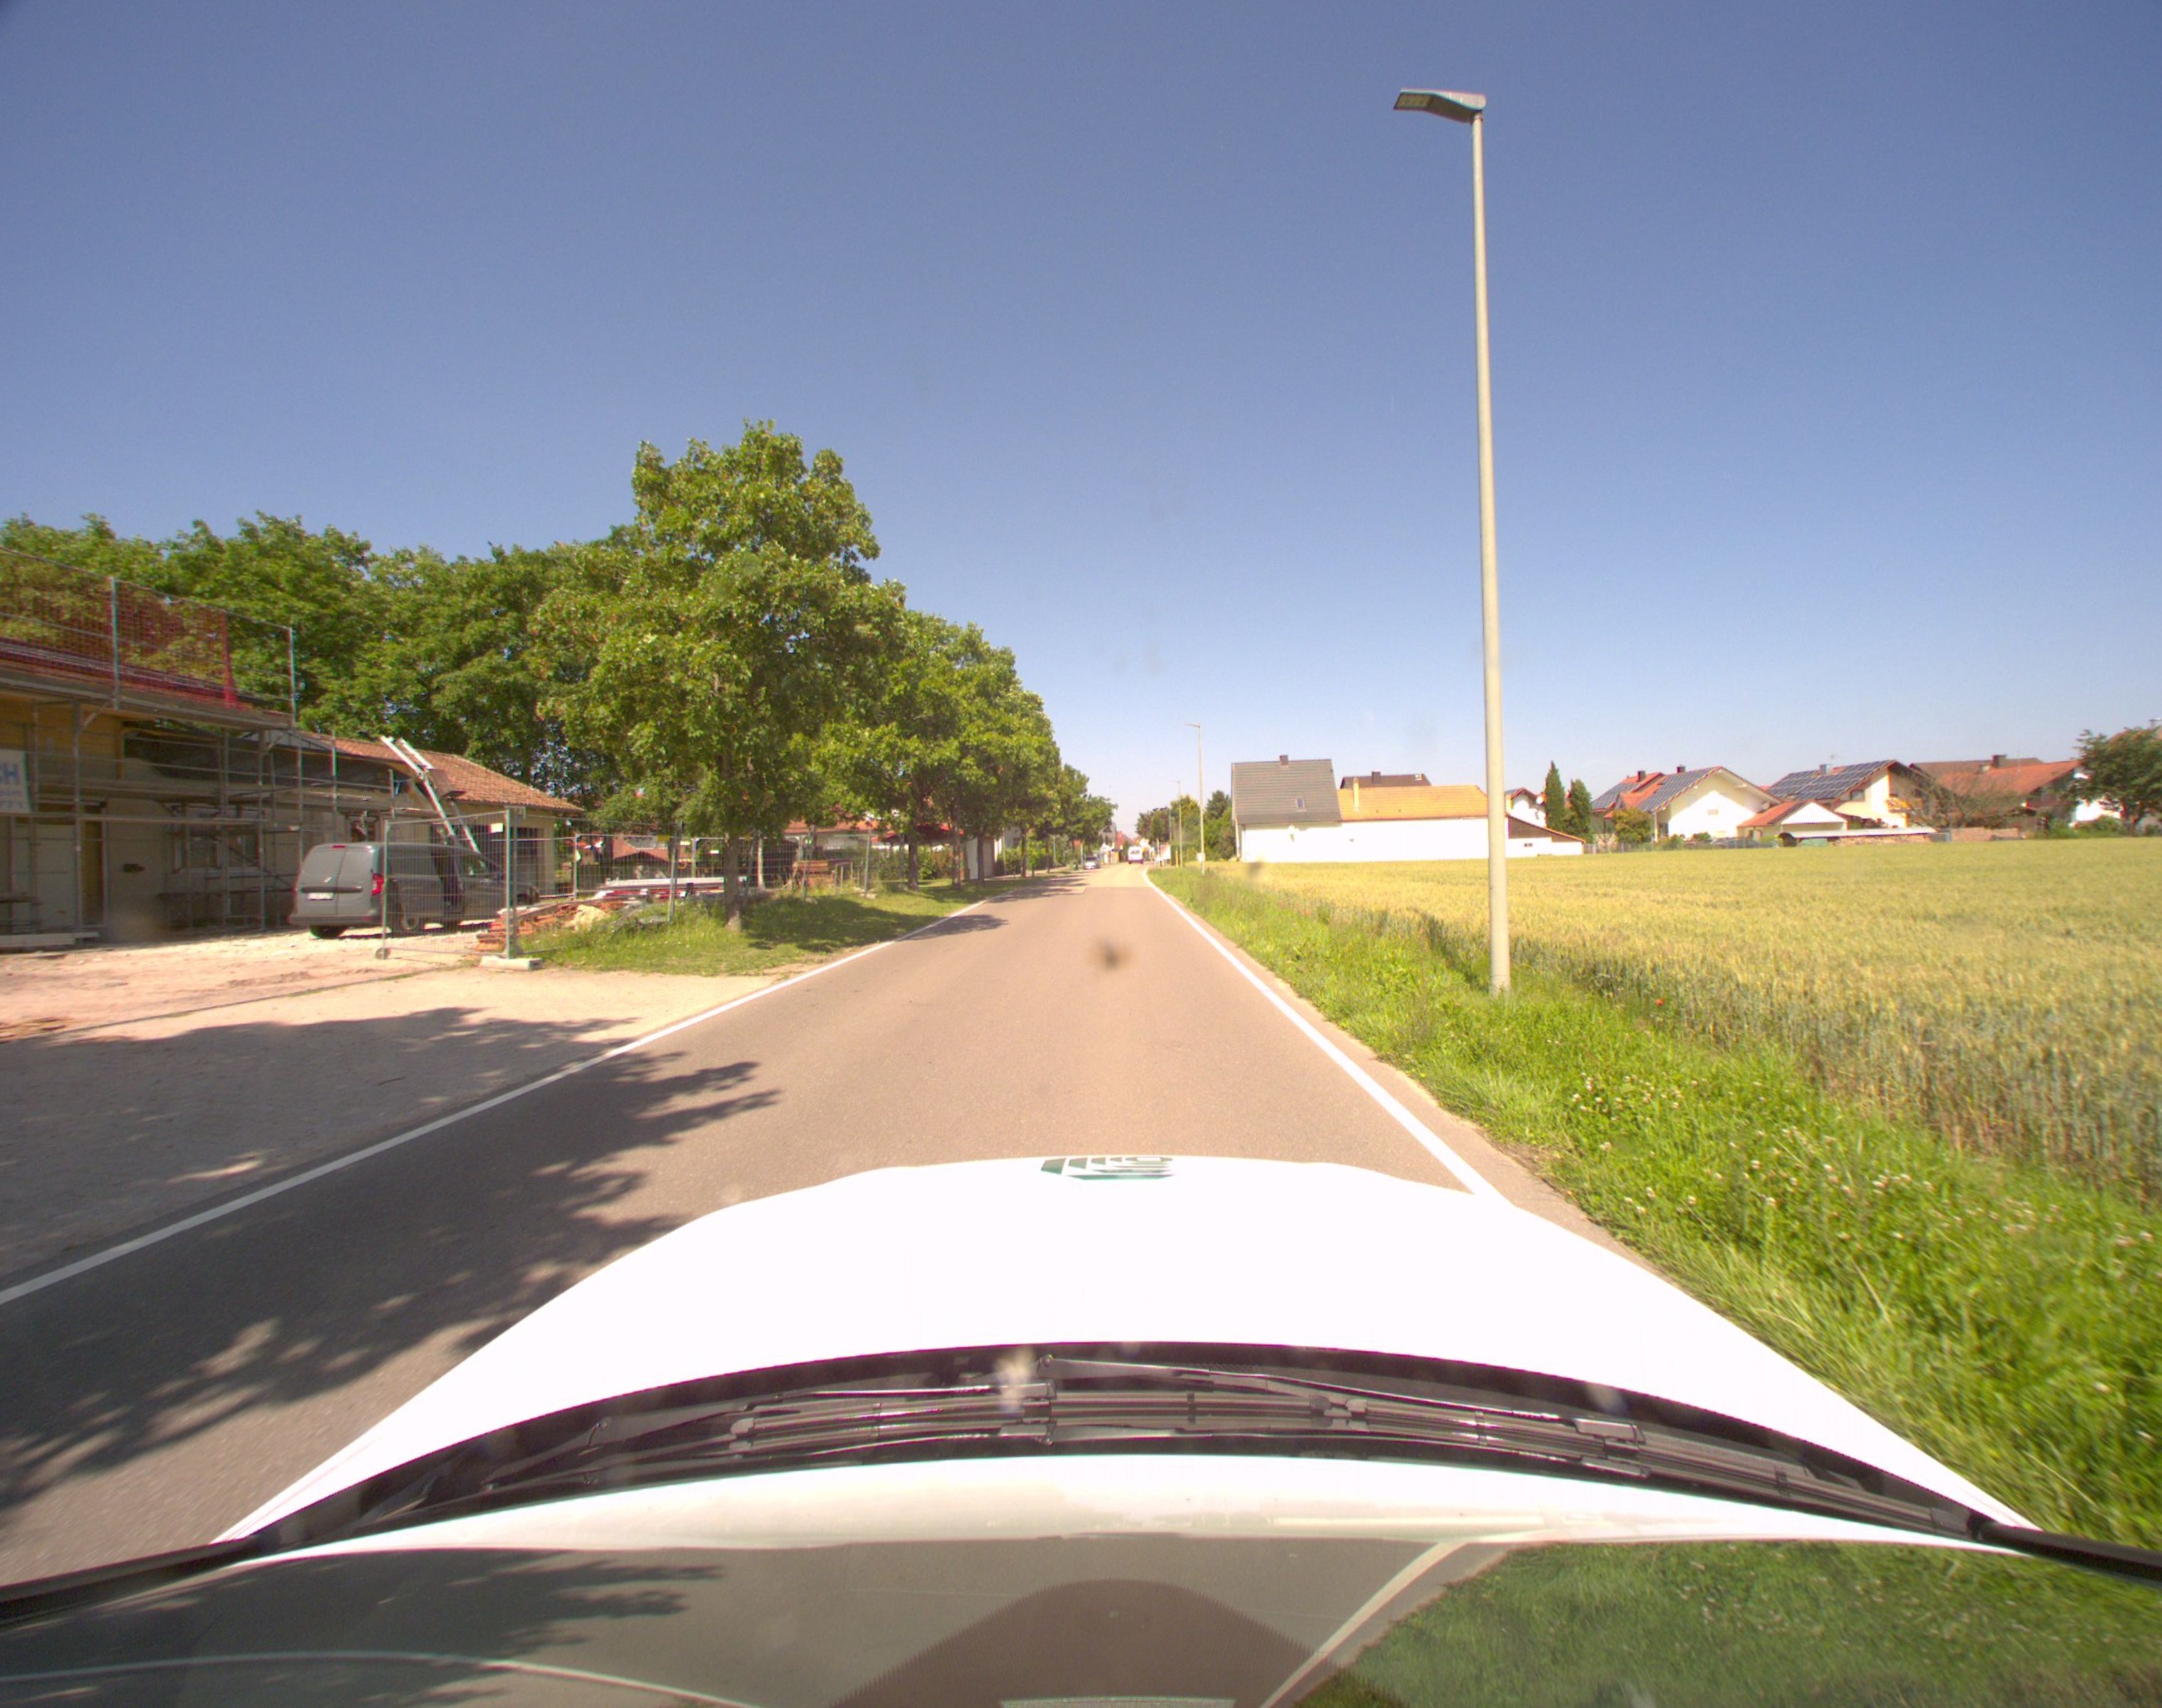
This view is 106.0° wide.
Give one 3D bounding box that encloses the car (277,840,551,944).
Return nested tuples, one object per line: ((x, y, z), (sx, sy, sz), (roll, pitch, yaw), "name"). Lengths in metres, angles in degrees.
((-13.447, 0.694, 16.855), (1.963, 1.838, 4.330), (-1, 0, 2), "car")

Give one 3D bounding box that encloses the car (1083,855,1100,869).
((1.132, 0.899, 89.875), (1.640, 1.423, 4.083), (-4, -1, 3), "car")

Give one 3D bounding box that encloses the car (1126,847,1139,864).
((7.529, 0.191, 118.611), (1.729, 2.432, 4.380), (-2, 0, 5), "car")

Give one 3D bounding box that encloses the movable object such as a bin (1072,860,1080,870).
((-0.527, 1.143, 85.209), (0.570, 1.079, 0.601), (-2, -1, 17), "movable object such as a bin")

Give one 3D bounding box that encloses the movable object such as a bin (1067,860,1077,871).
((-0.916, 1.181, 84.606), (0.706, 1.079, 0.644), (-2, -1, 30), "movable object such as a bin")
